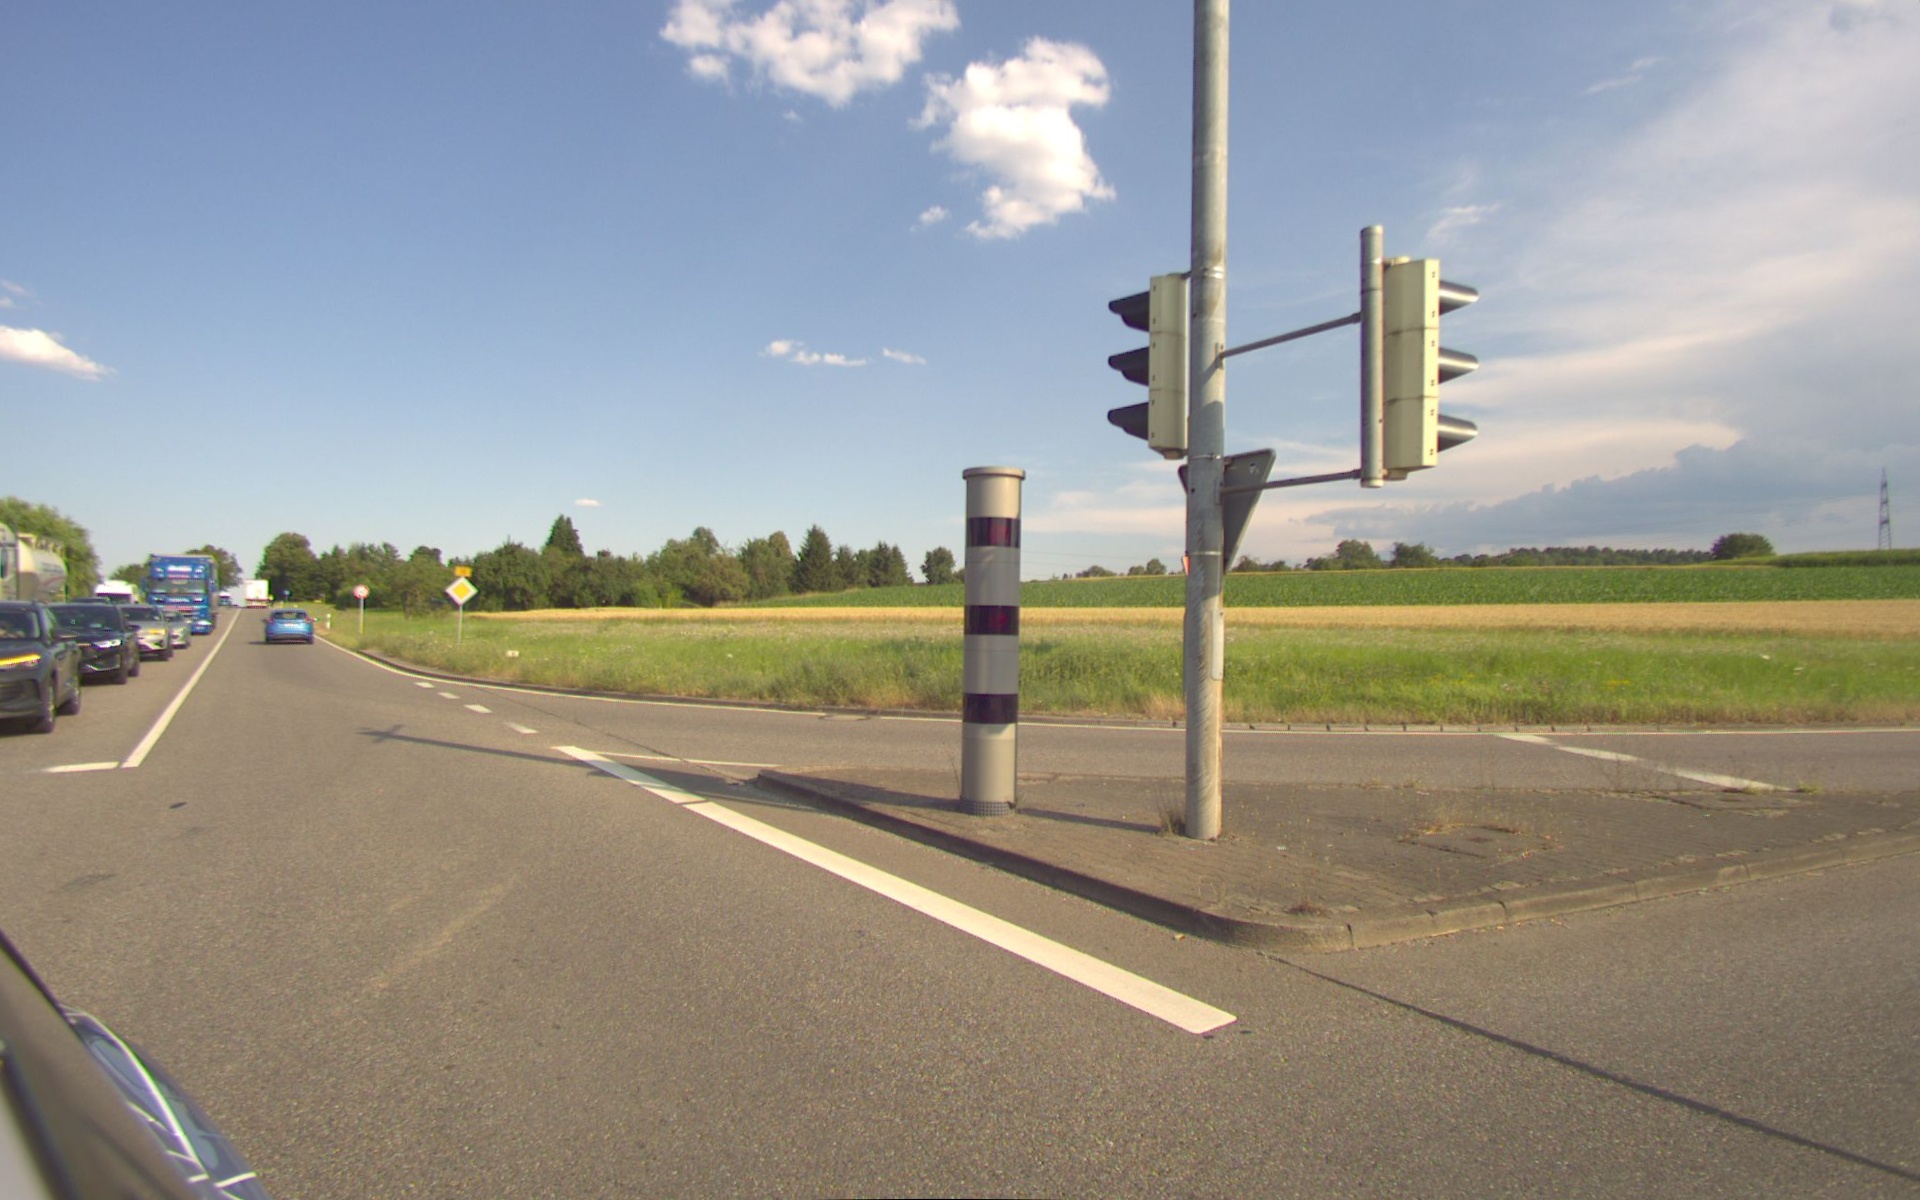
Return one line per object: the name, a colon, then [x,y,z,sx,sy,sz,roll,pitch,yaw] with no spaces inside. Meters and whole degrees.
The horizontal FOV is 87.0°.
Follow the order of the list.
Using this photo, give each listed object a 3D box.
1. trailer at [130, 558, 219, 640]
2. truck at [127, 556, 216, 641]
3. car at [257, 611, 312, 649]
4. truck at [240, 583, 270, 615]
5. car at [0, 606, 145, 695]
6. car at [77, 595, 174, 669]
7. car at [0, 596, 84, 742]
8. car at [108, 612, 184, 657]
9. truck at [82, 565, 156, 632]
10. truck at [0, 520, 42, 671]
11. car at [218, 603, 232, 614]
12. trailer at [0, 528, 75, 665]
trailer: [-43.581,-0.036,56.520,3.363,4.035,13.783,0,0,-36]
truck: [-39.746,-0.066,51.218,3.321,4.035,5.615,0,0,-36]
car: [-28.015,1.247,41.925,1.736,1.512,4.009,1,-2,-36]
truck: [-100.941,-0.130,144.855,3.395,4.531,9.510,0,0,-36]
car: [-18.420,0.954,21.182,1.746,1.625,4.559,0,0,-34]
car: [-24.180,0.868,29.453,1.877,1.962,4.382,-1,0,-36]
car: [-12.570,0.789,12.876,1.760,1.641,4.479,0,0,-36]
car: [-29.705,1.208,37.044,1.967,1.497,4.010,0,0,-36]
truck: [-52.576,-0.080,63.497,2.488,3.802,12.931,0,0,-35]
truck: [-26.704,-0.096,27.290,2.225,3.834,5.700,0,0,-36]
car: [-142.448,1.656,196.166,1.966,2.029,4.012,-1,0,-32]
trailer: [-29.943,-0.054,31.823,2.228,3.806,9.548,-1,0,-36]
